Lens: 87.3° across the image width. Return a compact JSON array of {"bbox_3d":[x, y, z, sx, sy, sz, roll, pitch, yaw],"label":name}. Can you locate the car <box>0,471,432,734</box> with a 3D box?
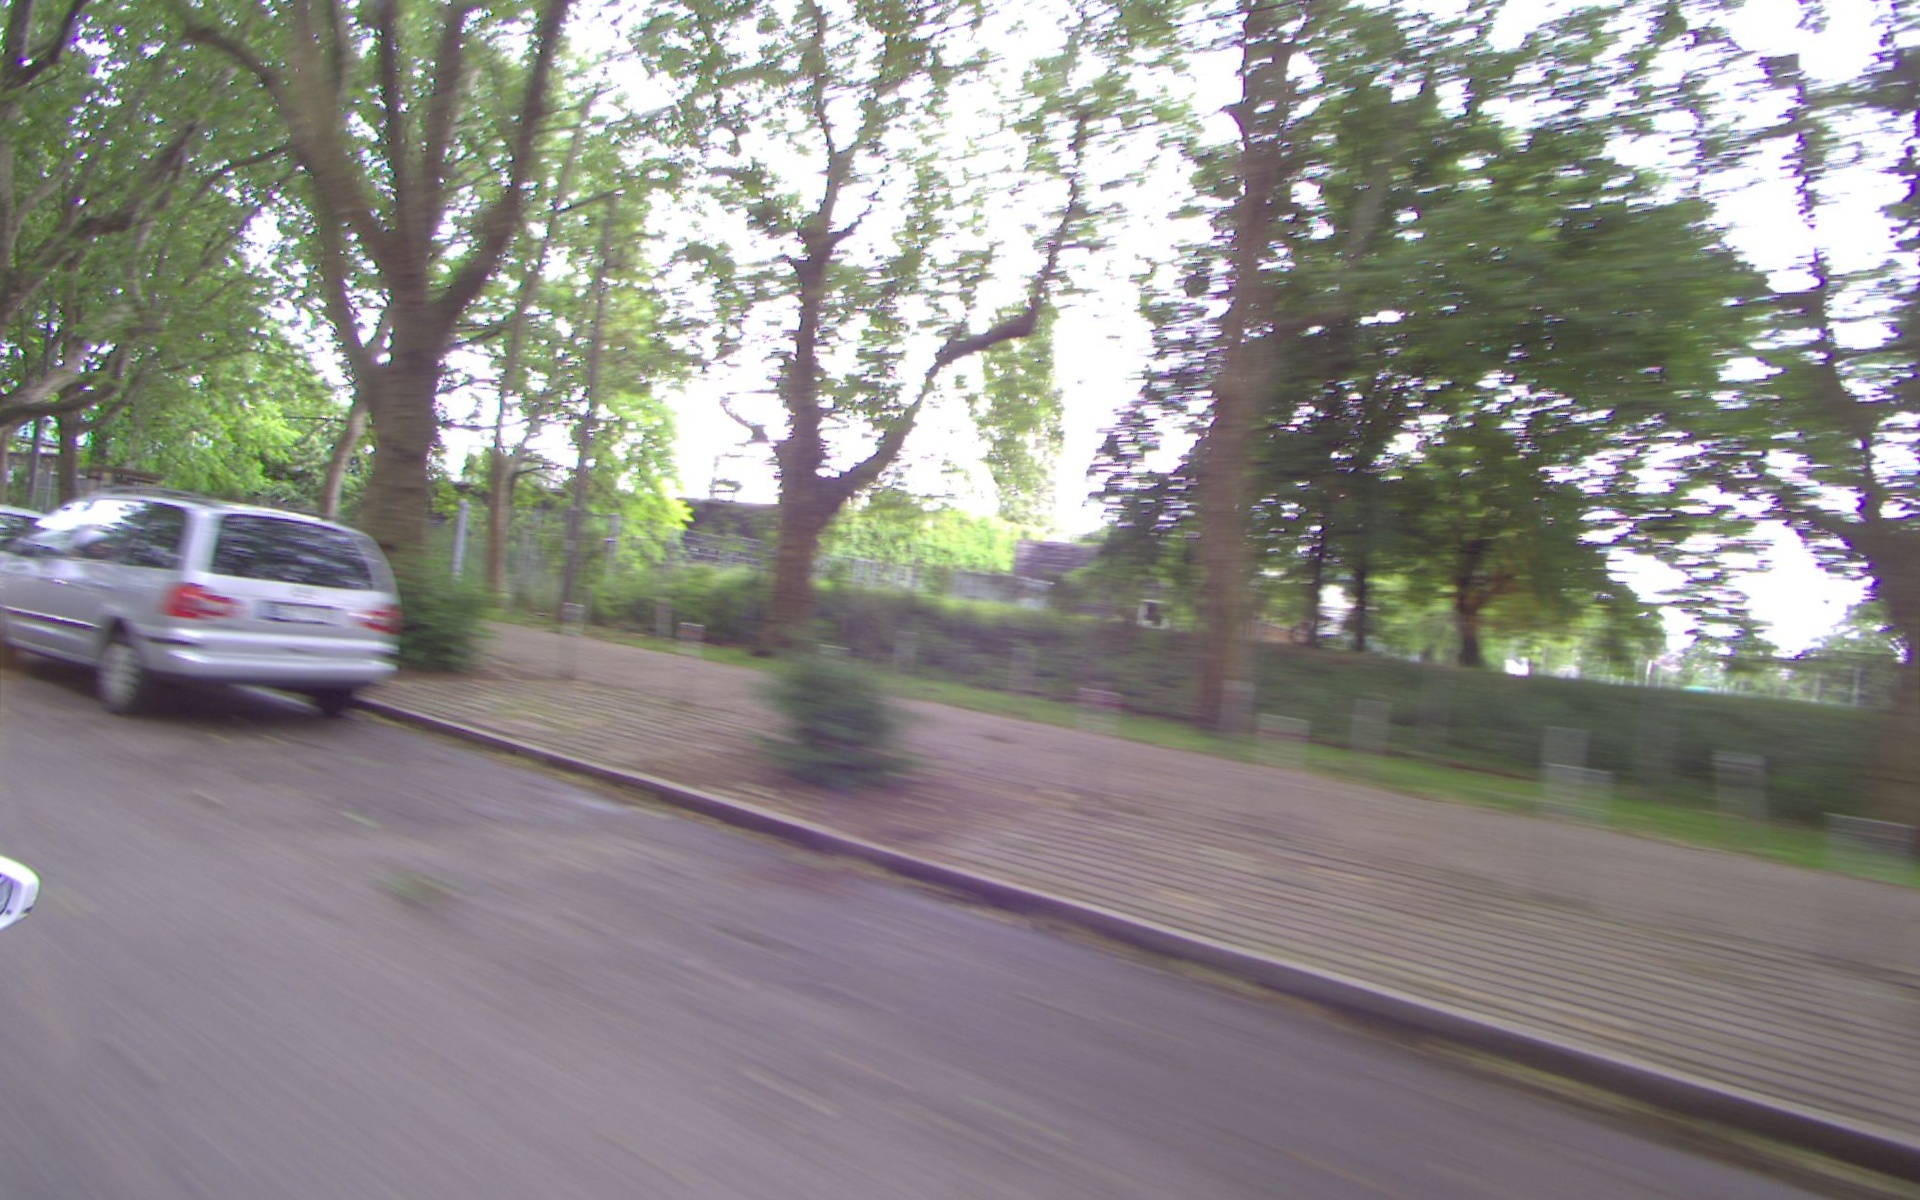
[{"bbox_3d":[-7.064,-0.062,9.109,4.431,1.759,1.906,7,-1,31],"label":"car"}]

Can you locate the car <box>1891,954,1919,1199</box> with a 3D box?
[{"bbox_3d":[4.493,1.442,1.743,3.824,1.444,1.711,7,-2,31],"label":"car"}]

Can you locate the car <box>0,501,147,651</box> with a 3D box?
[{"bbox_3d":[-11.571,-0.461,11.599,4.509,1.444,1.880,7,-1,31],"label":"car"}]
